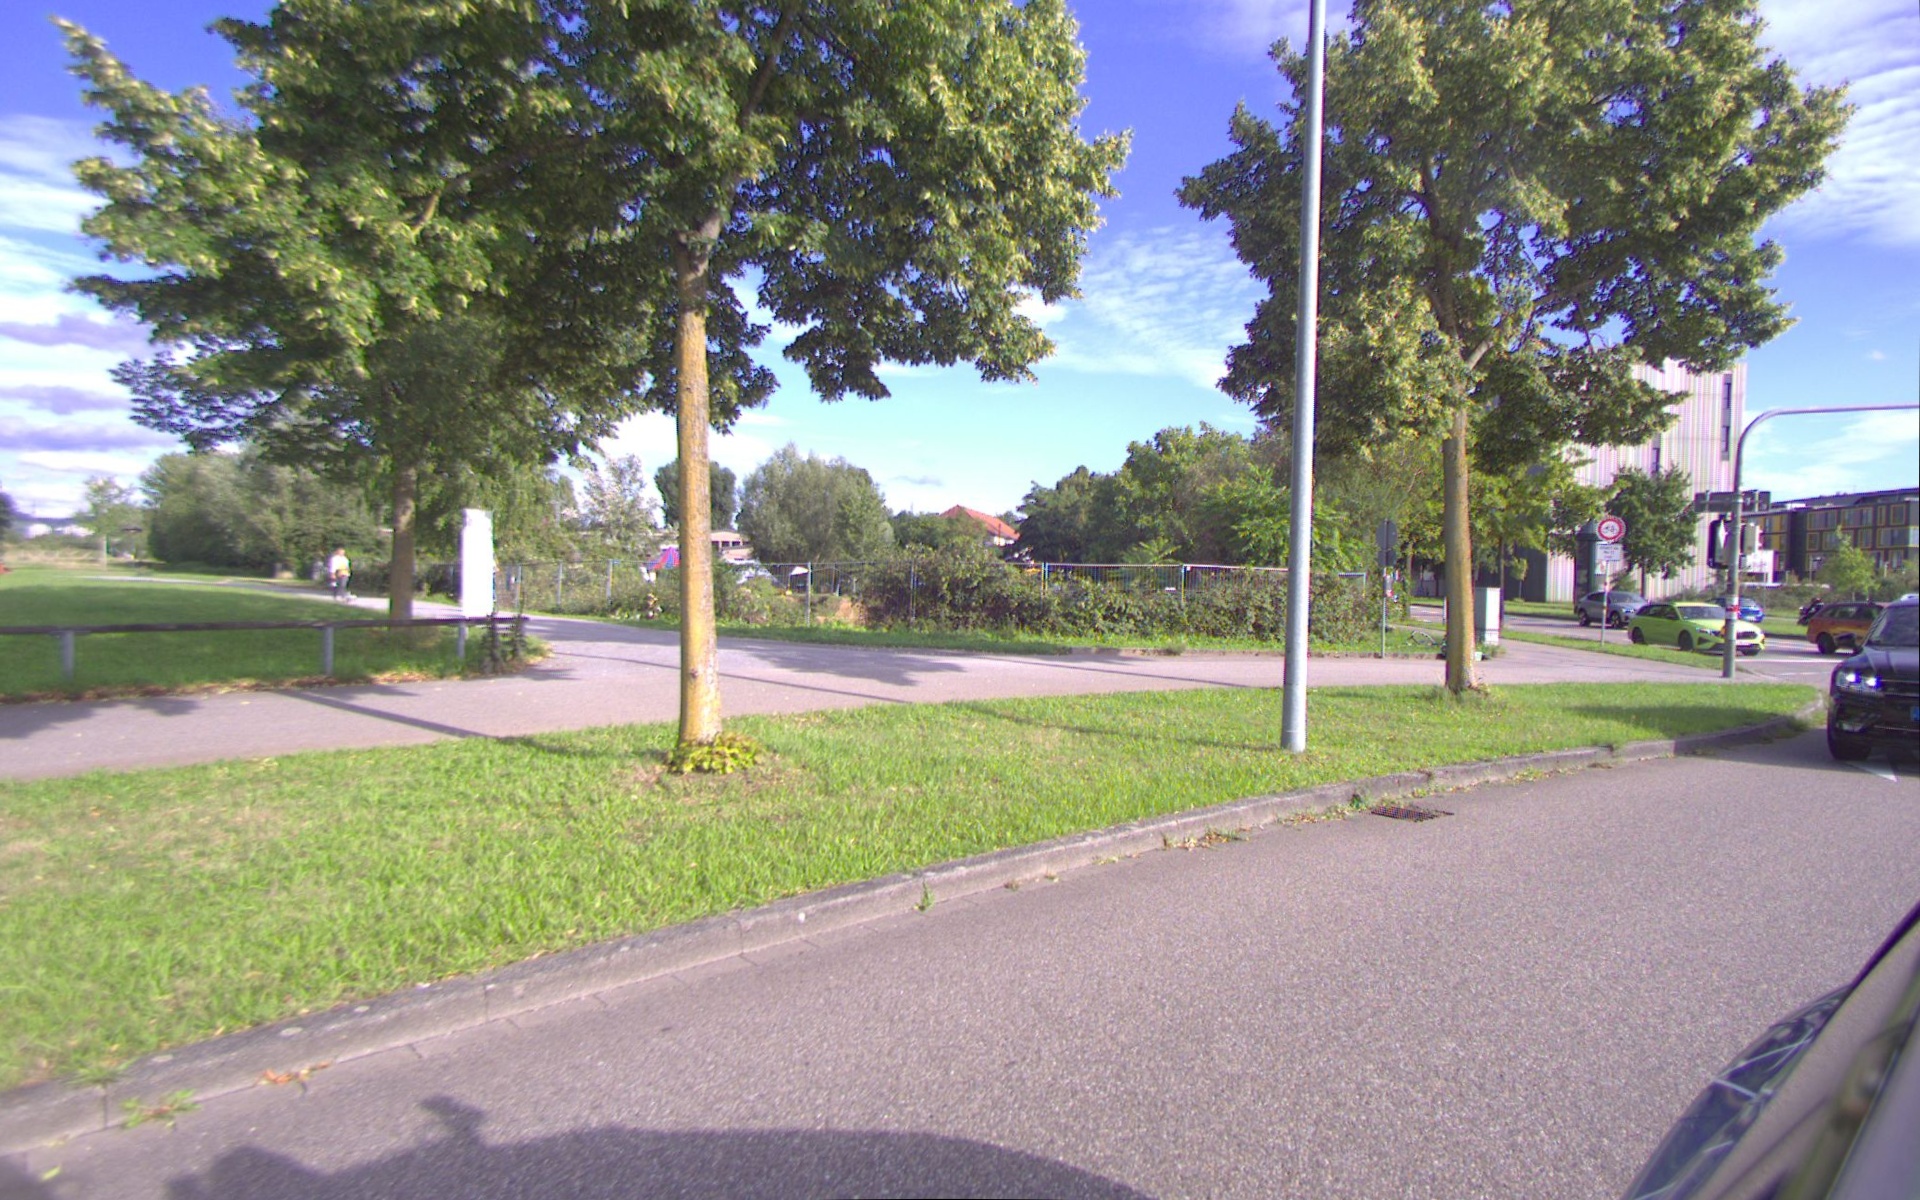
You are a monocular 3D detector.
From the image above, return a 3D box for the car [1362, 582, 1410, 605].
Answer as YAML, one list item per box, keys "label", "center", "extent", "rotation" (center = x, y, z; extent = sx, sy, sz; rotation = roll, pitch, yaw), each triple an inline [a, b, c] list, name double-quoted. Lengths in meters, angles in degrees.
- label: "car"
  center: [32.776, -0.533, 78.044]
  extent: [1.965, 1.682, 4.798]
  rotation: [1, 1, 5]

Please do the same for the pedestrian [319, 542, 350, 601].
- label: "pedestrian"
  center: [-18.757, -0.857, 30.349]
  extent: [0.595, 1.754, 0.657]
  rotation: [2, 2, 43]

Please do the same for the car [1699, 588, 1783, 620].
- label: "car"
  center: [42.240, 0.186, 54.843]
  extent: [1.754, 1.520, 3.985]
  rotation: [3, 1, 8]

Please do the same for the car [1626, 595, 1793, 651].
- label: "car"
  center: [21.511, 0.602, 29.302]
  extent: [1.865, 1.438, 4.597]
  rotation: [-1, 0, 8]

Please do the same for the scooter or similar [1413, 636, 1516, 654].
- label: "scooter or similar"
  center: [10.864, 0.961, 21.842]
  extent: [1.520, 0.284, 1.296]
  rotation: [1, 2, -18]

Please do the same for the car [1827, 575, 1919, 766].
- label: "car"
  center: [10.601, 0.623, 10.299]
  extent: [4.926, 1.675, 1.871]
  rotation: [-1, 2, -40]

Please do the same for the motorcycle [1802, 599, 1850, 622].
- label: "motorcycle"
  center: [40.632, 0.474, 47.505]
  extent: [0.772, 0.998, 2.017]
  rotation: [2, 1, 12]

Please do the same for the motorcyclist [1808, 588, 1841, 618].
- label: "motorcyclist"
  center: [40.649, 0.133, 47.591]
  extent: [0.772, 1.383, 0.940]
  rotation: [2, 1, 12]

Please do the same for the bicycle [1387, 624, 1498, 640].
- label: "bicycle"
  center: [11.722, 0.764, 24.657]
  extent: [1.068, 0.350, 2.253]
  rotation: [0, -1, -27]

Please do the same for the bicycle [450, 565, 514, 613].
- label: "bicycle"
  center: [-12.343, -0.297, 26.079]
  extent: [0.790, 1.140, 2.597]
  rotation: [0, 2, -41]

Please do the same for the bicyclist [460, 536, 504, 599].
- label: "bicyclist"
  center: [-12.307, -0.835, 26.062]
  extent: [0.790, 1.566, 0.903]
  rotation: [0, 2, -42]

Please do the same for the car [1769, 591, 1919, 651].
- label: "car"
  center: [25.381, 0.532, 28.743]
  extent: [1.665, 1.493, 4.223]
  rotation: [0, 2, 5]

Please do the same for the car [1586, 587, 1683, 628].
- label: "car"
  center: [28.918, 0.263, 43.549]
  extent: [1.665, 1.492, 4.222]
  rotation: [1, 3, 6]
